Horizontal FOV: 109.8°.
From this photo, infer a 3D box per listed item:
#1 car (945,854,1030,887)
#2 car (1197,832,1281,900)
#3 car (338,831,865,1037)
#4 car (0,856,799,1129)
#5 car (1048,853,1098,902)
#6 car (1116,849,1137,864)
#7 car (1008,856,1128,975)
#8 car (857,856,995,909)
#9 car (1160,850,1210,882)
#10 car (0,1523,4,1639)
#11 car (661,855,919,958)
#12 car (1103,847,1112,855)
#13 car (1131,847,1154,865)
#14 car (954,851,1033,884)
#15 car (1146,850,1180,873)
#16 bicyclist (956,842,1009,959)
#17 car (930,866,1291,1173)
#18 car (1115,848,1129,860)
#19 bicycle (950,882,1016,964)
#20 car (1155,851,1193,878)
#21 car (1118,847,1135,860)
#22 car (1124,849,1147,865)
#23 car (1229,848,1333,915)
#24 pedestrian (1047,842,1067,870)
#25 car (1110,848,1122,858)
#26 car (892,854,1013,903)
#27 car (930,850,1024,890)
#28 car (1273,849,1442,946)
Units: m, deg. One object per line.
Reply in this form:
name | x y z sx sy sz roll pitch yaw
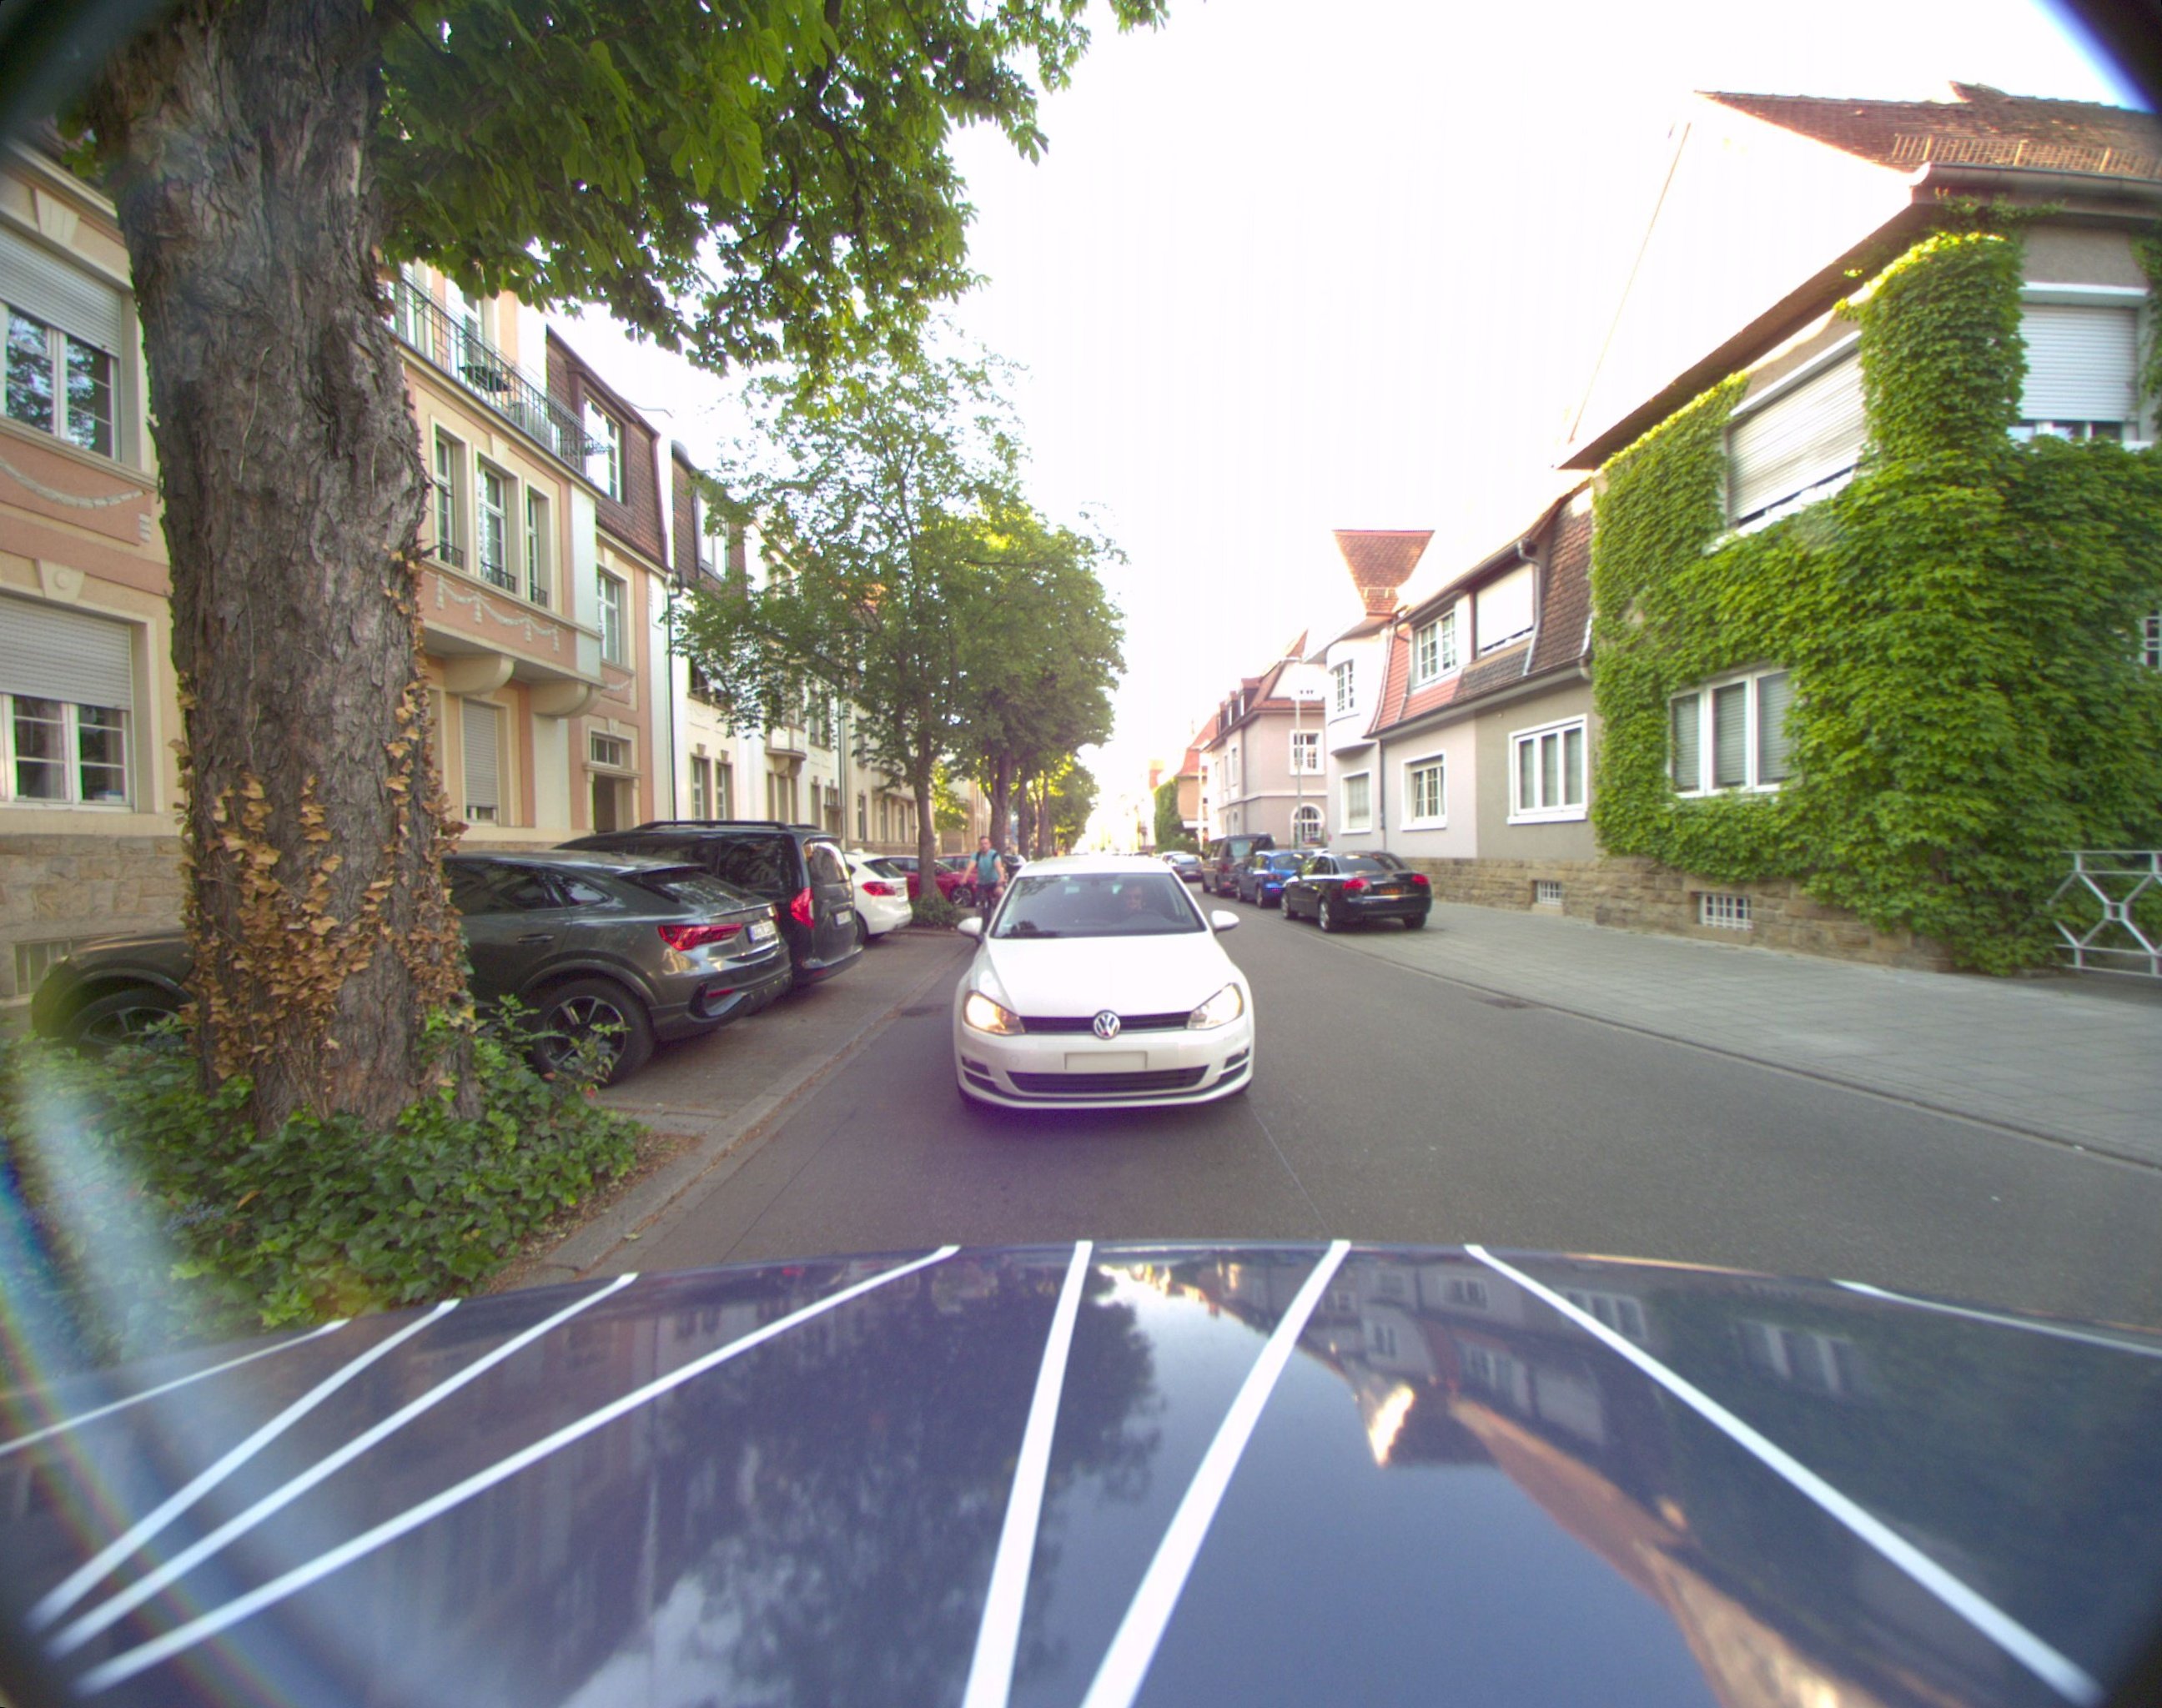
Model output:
car | -4.154 0.728 34.226 3.622 1.395 1.537 0 1 0
car | 5.099 0.331 25.117 1.719 1.961 4.310 -4 1 0
car | -4.456 0.707 7.592 4.173 1.816 1.594 1 1 -4
car | -4.391 0.841 5.410 4.173 1.583 1.594 1 1 -4
car | -0.230 0.753 26.149 1.560 1.546 3.738 1 0 1
car | 4.837 0.231 80.710 1.643 1.461 3.688 -3 1 -4
car | -0.150 0.833 12.194 1.600 1.546 4.000 1 0 1
car | -4.374 0.784 21.743 3.622 1.395 1.537 1 1 0
car | 4.966 0.547 36.823 1.719 1.363 4.334 -3 0 0
car | -4.674 0.782 0.512 4.835 1.814 1.880 1 1 -4
car | -4.584 0.815 12.358 3.623 1.541 1.537 1 1 -4
car | 5.203 -0.557 149.324 1.643 1.461 3.689 -3 0 0
car | 5.469 0.130 68.249 1.643 1.461 3.945 -3 0 0
car | -4.216 0.635 36.842 3.622 1.555 1.537 0 1 0
car | 5.427 0.454 50.572 1.719 1.363 3.945 -3 0 0
bicyclist | -1.539 0.703 12.017 0.648 1.765 0.830 -2 1 1
car | 0.115 0.878 5.911 1.799 1.420 4.023 -2 0 -1
car | 5.432 -0.056 101.115 1.643 1.461 3.689 -3 0 0
bicycle | -1.530 1.055 12.209 0.744 1.111 2.013 -2 0 1
car | 5.123 0.532 42.155 1.541 1.363 3.945 -3 0 0
car | 5.418 -0.036 91.209 1.643 1.461 3.689 -3 0 -1
car | 5.389 0.262 75.394 1.643 1.461 3.688 -3 1 -4
car | 5.235 0.652 20.366 1.611 1.455 4.023 -4 1 0
pedestrian | -1.739 0.137 54.510 1.191 2.002 0.929 0 1 -22
car | 5.369 -0.125 115.801 1.643 1.461 3.689 -3 0 0
car | -4.057 0.759 24.337 3.622 1.456 1.537 1 1 0
car | -4.186 0.630 30.941 3.622 1.555 1.537 0 1 0
car | 5.053 0.708 14.499 1.751 1.421 4.023 -4 1 1
